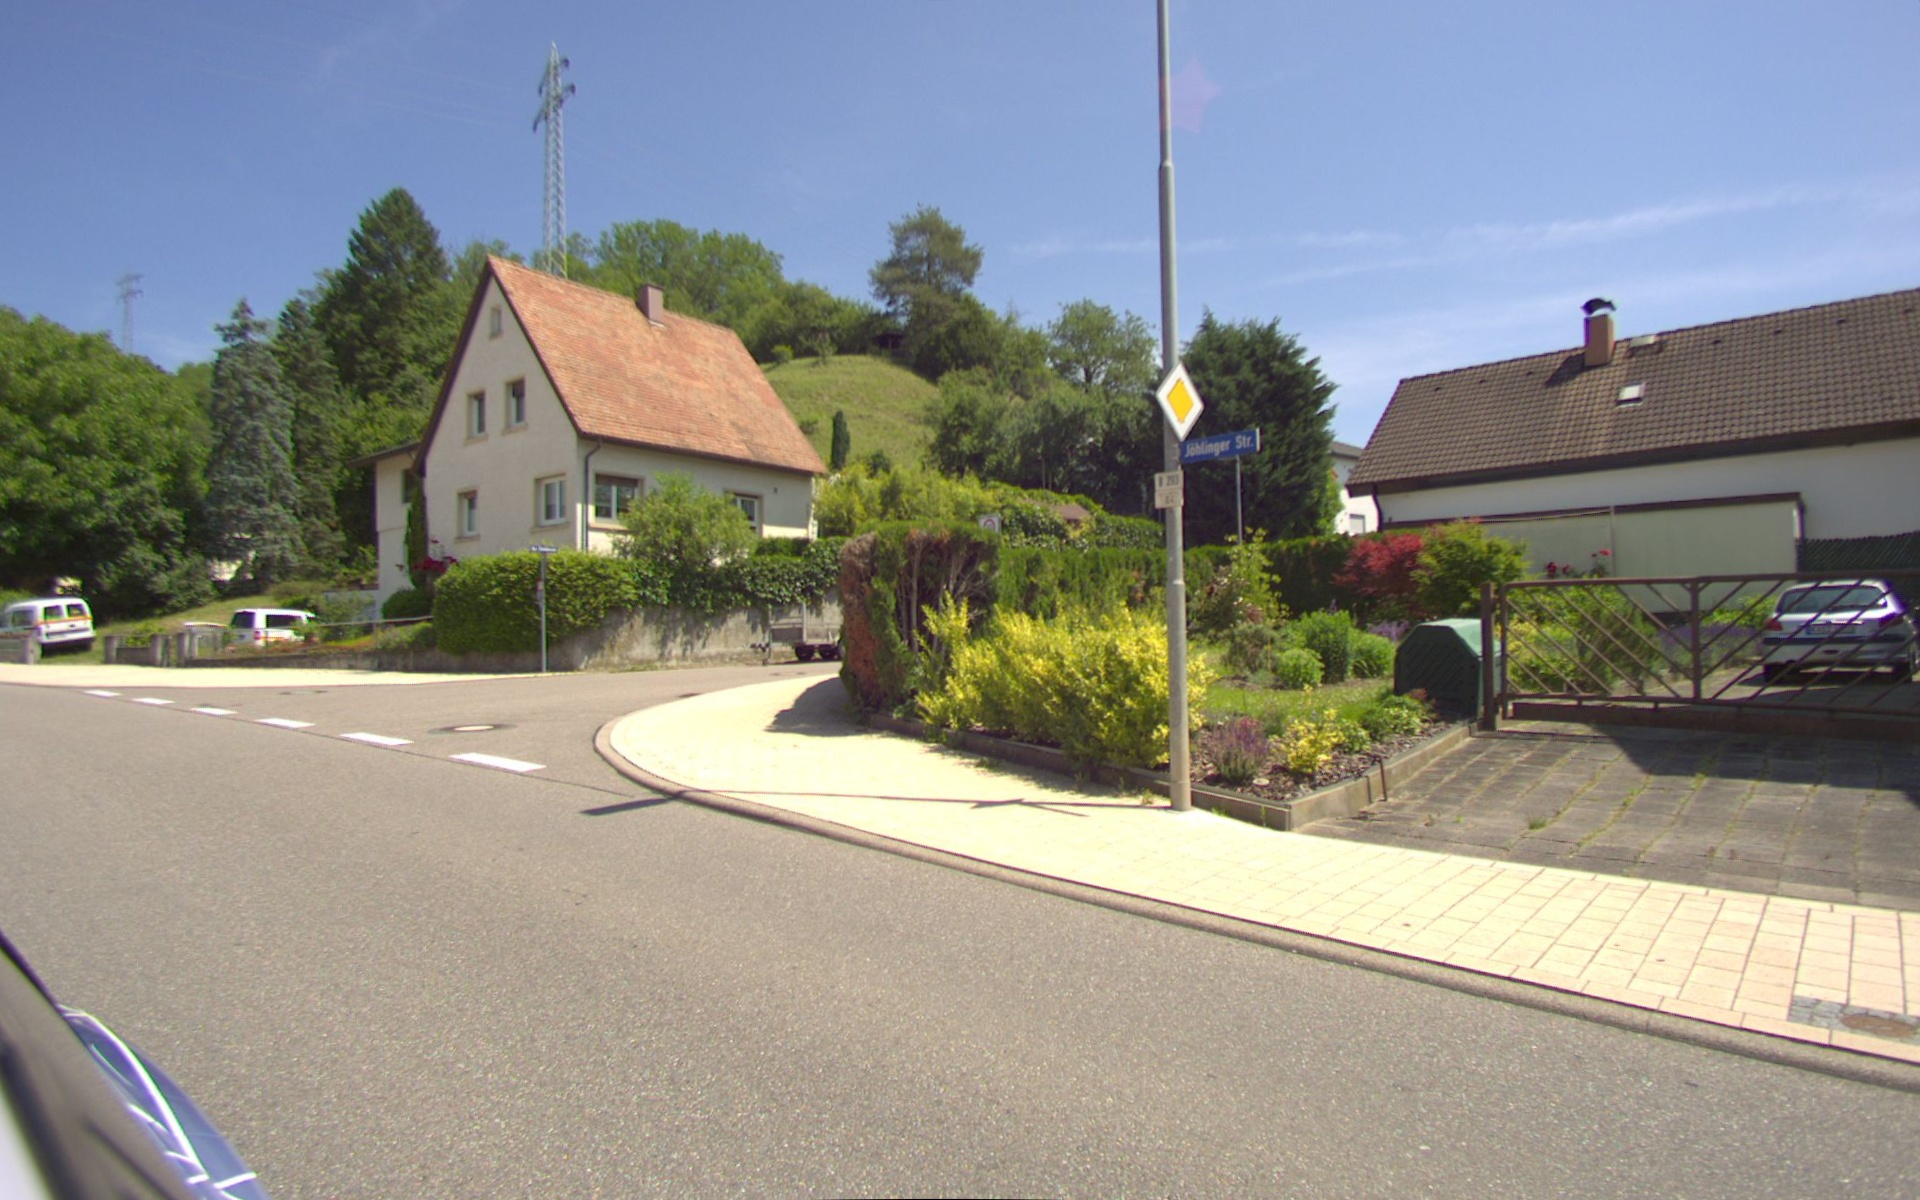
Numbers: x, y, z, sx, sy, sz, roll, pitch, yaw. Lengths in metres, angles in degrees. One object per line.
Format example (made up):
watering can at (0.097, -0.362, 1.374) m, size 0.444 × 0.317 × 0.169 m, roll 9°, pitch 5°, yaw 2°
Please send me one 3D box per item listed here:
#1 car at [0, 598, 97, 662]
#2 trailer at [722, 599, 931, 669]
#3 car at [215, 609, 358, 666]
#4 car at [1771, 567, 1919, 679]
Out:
car at (-30.371, 0.970, 33.177) m, size 3.978 × 1.963 × 1.690 m, roll -1°, pitch 1°, yaw 26°
trailer at (-3.310, 0.806, 25.775) m, size 5.001 × 1.516 × 2.002 m, roll -1°, pitch -1°, yaw -42°
car at (-23.913, 1.354, 36.093) m, size 1.798 × 1.803 × 3.971 m, roll -5°, pitch -4°, yaw 21°
car at (13.242, 0.350, 14.998) m, size 1.579 × 1.403 × 3.749 m, roll -7°, pitch -5°, yaw 42°
